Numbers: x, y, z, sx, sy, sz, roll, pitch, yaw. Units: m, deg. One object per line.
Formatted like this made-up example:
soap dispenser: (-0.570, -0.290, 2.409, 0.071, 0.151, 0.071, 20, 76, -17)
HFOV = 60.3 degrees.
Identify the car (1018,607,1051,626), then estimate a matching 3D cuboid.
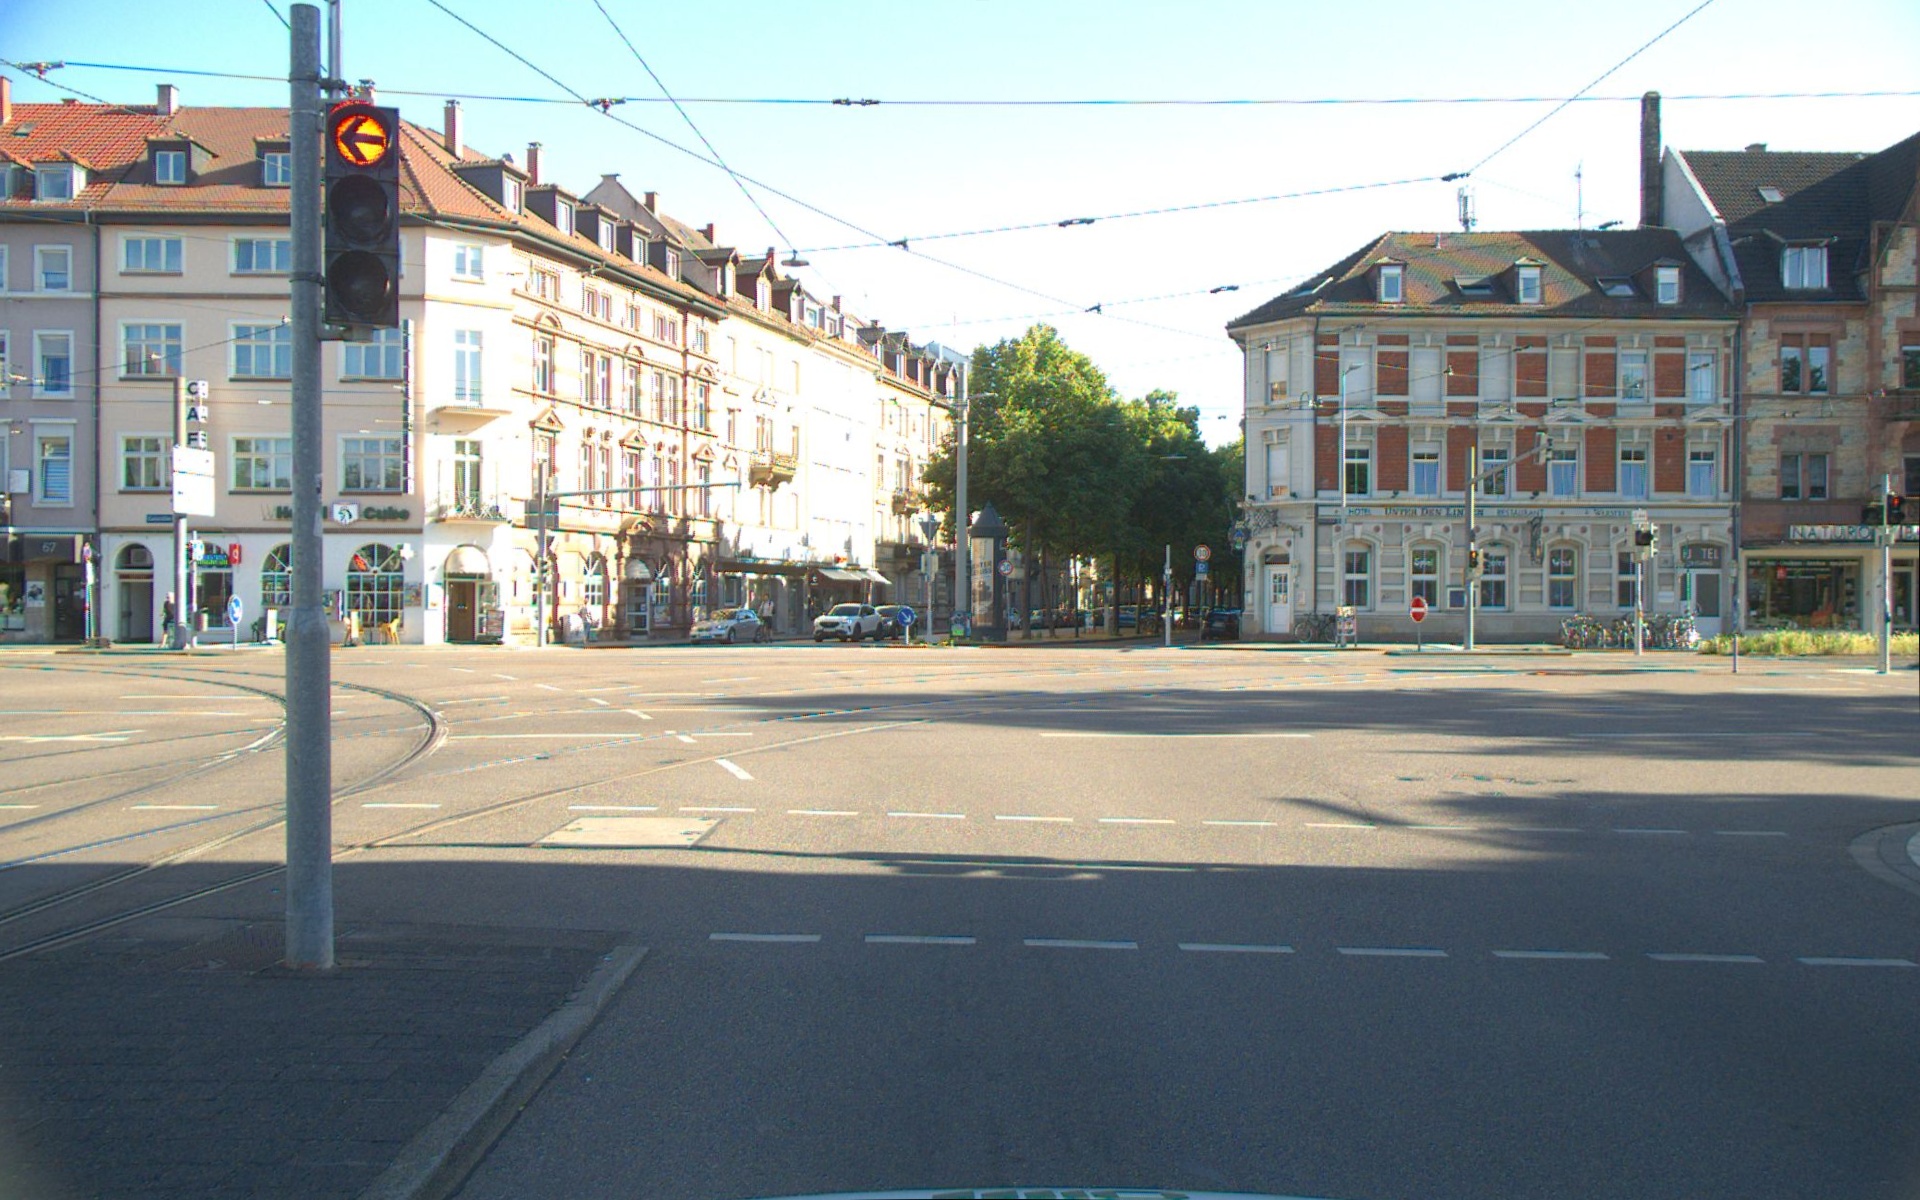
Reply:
car: (5.538, 1.198, 122.505, 1.642, 1.378, 3.593, 0, 0, 16)

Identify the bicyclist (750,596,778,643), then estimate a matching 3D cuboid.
bicyclist: (-7.711, 0.768, 65.007, 0.761, 1.834, 1.056, 1, -1, 13)

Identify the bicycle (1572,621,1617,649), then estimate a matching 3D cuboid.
bicycle: (20.483, 1.123, 53.457, 0.645, 0.855, 2.160, 1, 0, 1)

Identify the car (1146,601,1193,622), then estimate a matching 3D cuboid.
car: (16.946, 0.890, 133.749, 3.503, 1.677, 1.684, 0, 0, 16)

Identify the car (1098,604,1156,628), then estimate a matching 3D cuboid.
car: (11.719, 1.120, 115.837, 3.819, 1.677, 1.684, 0, 0, 16)

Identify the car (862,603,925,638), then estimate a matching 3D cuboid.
car: (-2.945, 0.890, 73.555, 1.642, 1.509, 3.950, 0, 0, 16)

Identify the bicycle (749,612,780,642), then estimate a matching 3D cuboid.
bicycle: (-7.677, 1.049, 65.130, 0.687, 1.137, 1.636, 1, 0, 13)

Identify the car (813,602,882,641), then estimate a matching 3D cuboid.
car: (-4.532, 0.845, 67.230, 1.642, 1.509, 3.774, 0, 0, 16)

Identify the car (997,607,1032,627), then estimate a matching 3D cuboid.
car: (3.826, 1.162, 115.518, 1.642, 1.378, 3.593, 0, 0, 16)

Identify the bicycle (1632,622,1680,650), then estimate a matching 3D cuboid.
bicycle: (22.494, 1.158, 53.484, 0.645, 0.855, 2.160, 1, 0, 1)

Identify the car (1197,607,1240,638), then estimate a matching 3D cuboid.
car: (12.962, 1.109, 82.752, 1.642, 1.509, 3.950, 0, 0, 16)

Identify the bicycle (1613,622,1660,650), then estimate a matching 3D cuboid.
bicycle: (21.866, 1.147, 53.504, 0.645, 0.855, 2.160, 1, 0, 1)

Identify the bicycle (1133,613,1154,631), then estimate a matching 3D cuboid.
bicycle: (11.056, 1.300, 99.630, 0.625, 1.039, 1.840, 1, 0, -14)

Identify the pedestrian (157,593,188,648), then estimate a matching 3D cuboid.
pedestrian: (-24.724, 0.650, 51.921, 0.570, 1.699, 0.752, 1, -1, -1)

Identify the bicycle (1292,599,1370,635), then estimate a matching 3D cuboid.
bicycle: (12.869, 0.592, 57.460, 2.504, 1.194, 0.818, 1, -1, -4)

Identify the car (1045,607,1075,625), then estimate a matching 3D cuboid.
car: (7.897, 1.219, 130.847, 1.642, 1.378, 3.593, 0, 0, 16)

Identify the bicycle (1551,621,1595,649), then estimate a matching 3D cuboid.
bicycle: (19.764, 1.111, 53.370, 0.645, 0.855, 2.160, 1, 0, 1)

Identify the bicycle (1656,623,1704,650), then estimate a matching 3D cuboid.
bicycle: (23.282, 1.172, 53.530, 0.645, 0.855, 2.160, 1, 0, 1)

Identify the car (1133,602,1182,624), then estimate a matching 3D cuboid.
car: (15.324, 0.964, 128.249, 3.503, 1.677, 1.684, 0, 0, 16)

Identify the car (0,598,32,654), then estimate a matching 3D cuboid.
car: (-32.149, 0.791, 52.261, 4.276, 1.741, 2.306, 1, 0, 1)

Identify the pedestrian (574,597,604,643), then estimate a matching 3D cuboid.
pedestrian: (-13.971, 0.760, 62.297, 0.759, 1.699, 0.831, 1, -1, 15)

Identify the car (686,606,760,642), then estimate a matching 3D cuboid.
car: (-9.537, 0.935, 66.748, 1.642, 1.378, 3.593, 0, 0, 16)

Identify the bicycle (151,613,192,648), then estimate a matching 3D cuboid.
bicycle: (-24.731, 0.948, 51.887, 0.561, 1.096, 1.497, 1, 0, -1)

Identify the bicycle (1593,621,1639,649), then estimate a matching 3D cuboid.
bicycle: (21.195, 1.136, 53.471, 0.645, 0.855, 2.160, 1, 0, 1)

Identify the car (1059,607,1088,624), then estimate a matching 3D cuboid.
car: (9.322, 1.256, 135.898, 1.642, 1.378, 3.593, 0, 0, 16)
